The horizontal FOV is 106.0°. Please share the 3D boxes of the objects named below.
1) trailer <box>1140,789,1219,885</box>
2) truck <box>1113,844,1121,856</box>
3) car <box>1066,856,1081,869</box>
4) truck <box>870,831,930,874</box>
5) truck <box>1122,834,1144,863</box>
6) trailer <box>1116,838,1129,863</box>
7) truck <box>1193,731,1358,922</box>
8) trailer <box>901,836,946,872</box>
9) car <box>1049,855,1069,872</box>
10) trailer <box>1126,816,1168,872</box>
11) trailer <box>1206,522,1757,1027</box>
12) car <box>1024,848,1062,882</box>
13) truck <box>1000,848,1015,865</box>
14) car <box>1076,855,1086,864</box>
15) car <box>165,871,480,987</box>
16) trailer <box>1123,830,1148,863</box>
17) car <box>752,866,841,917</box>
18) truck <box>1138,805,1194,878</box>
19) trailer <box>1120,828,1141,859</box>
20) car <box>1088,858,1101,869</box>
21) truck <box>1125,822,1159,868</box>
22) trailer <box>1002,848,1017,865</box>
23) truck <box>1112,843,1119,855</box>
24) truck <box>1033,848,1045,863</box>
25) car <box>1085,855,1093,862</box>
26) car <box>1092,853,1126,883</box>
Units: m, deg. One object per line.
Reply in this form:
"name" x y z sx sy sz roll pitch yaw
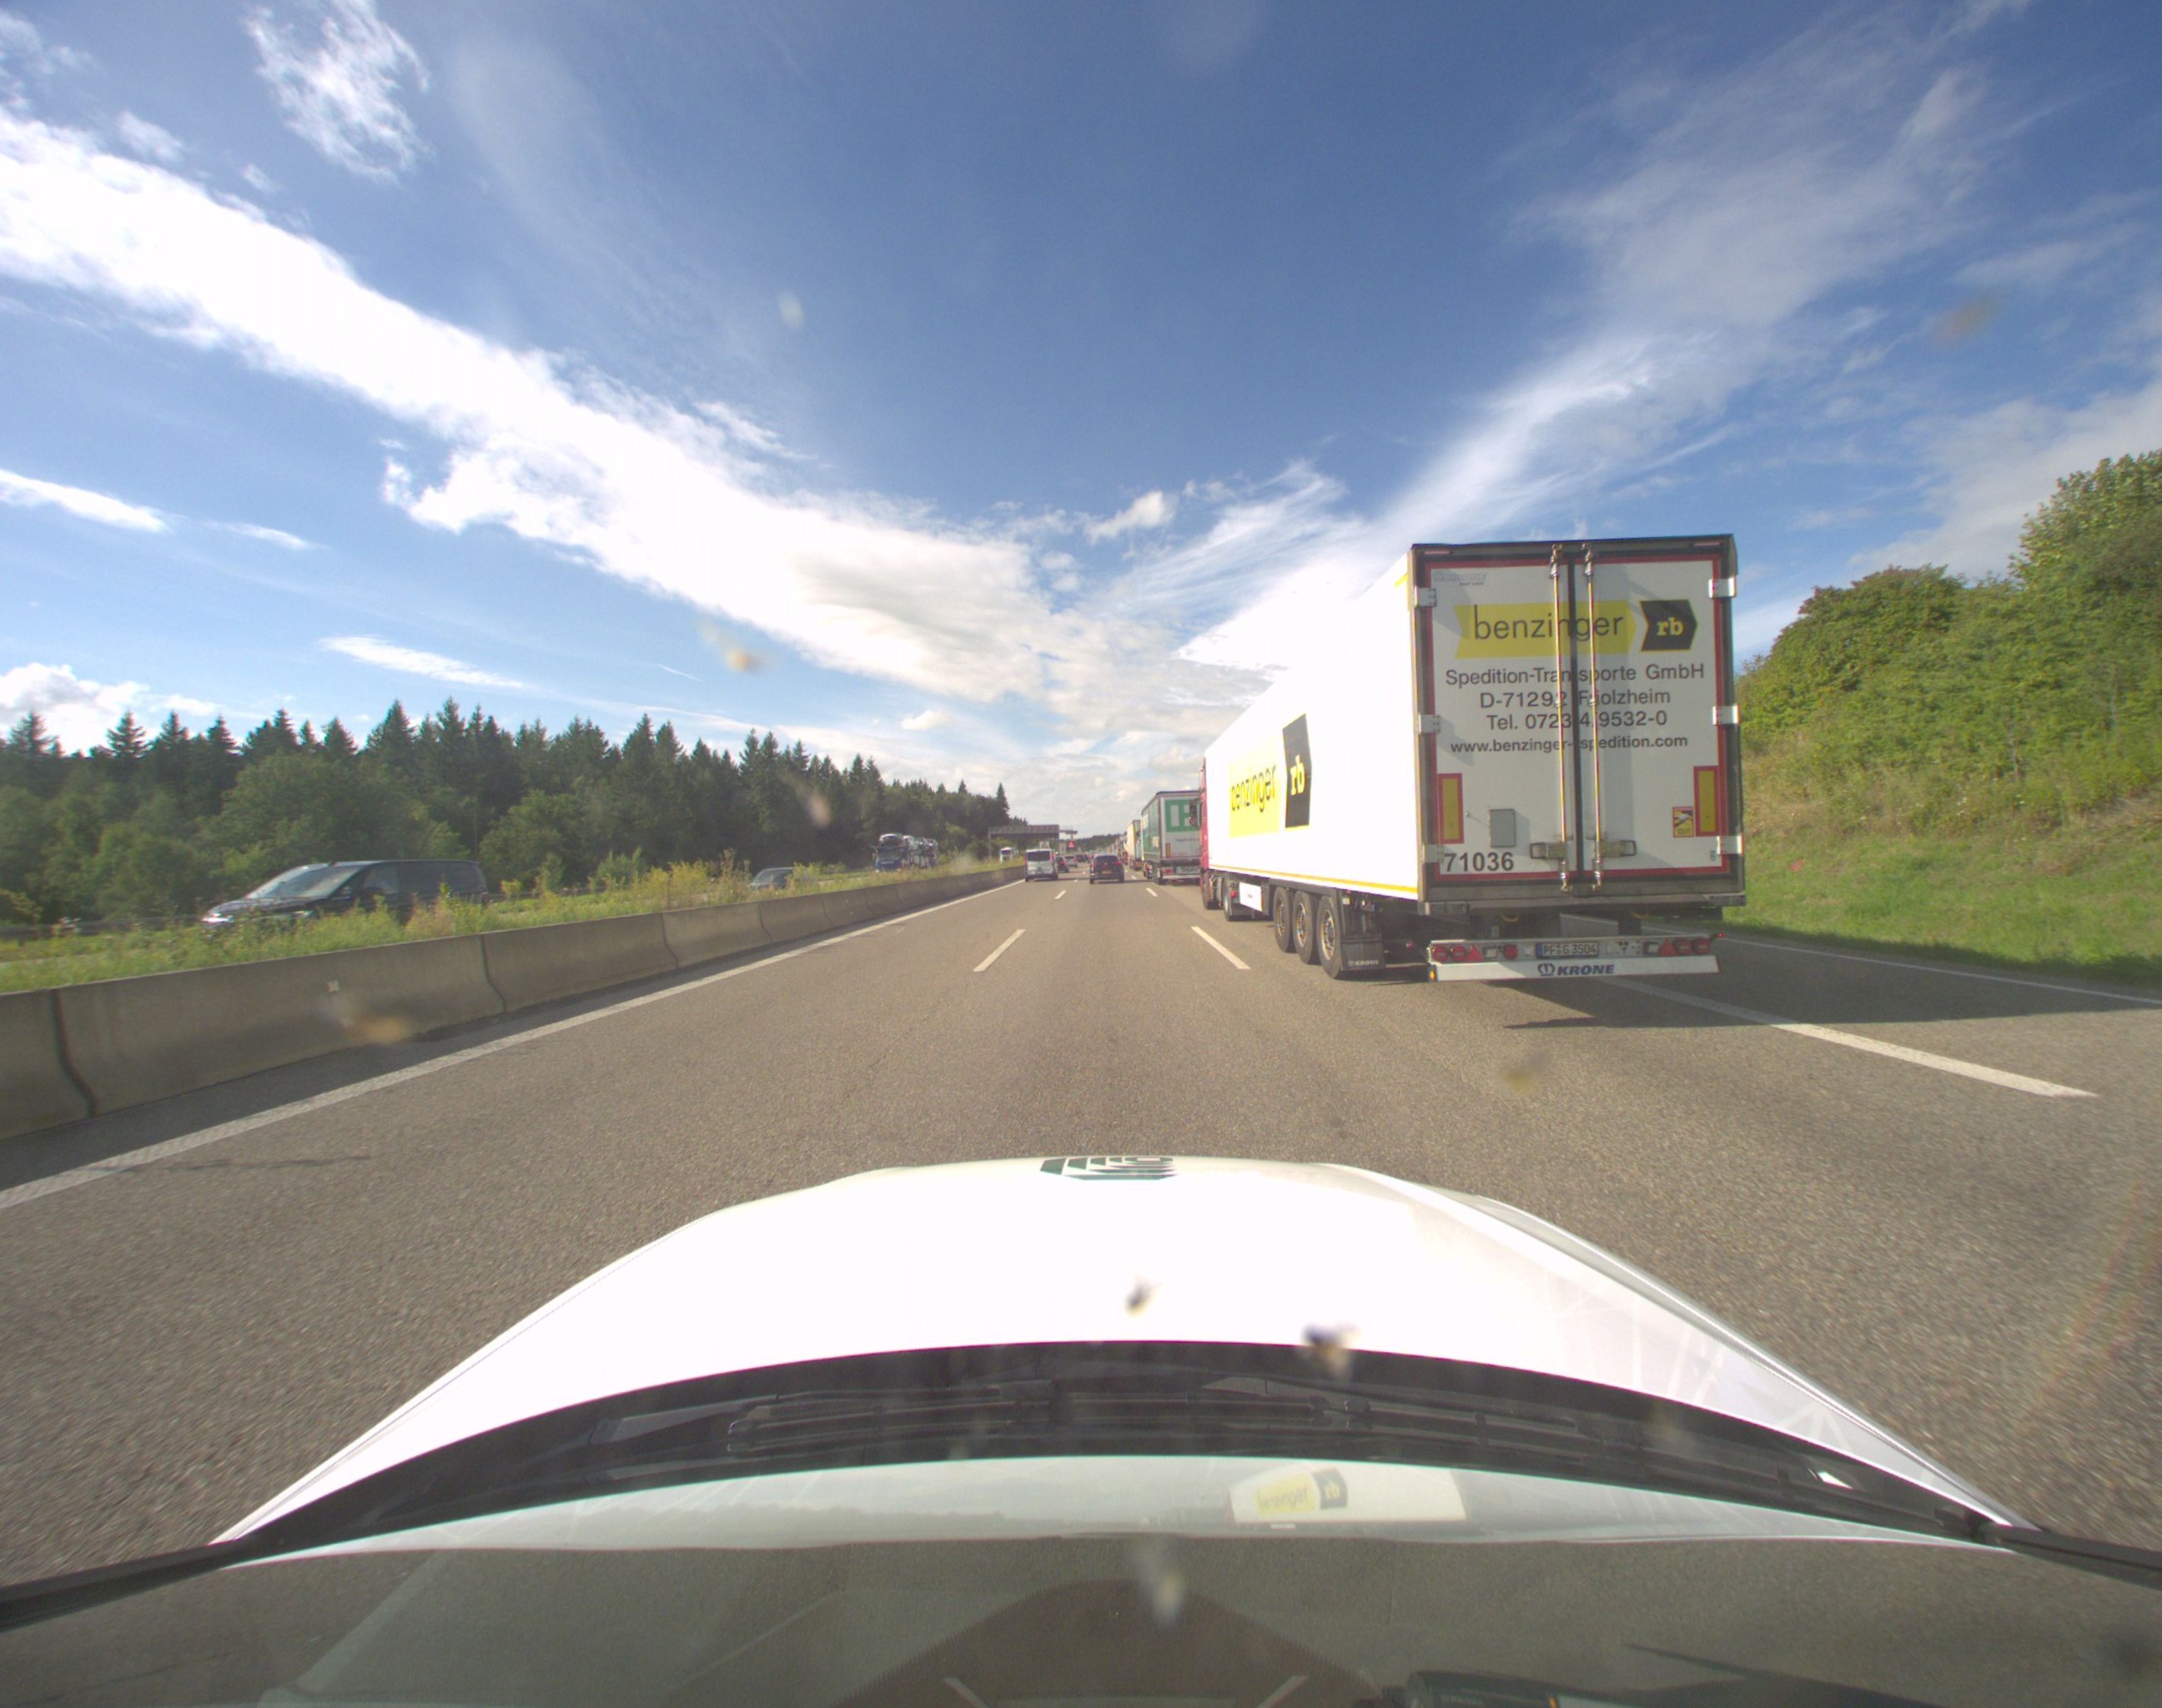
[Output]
"trailer" 4.559 -0.677 40.528 2.651 3.869 13.400 -2 0 2
"truck" 8.540 -0.906 193.781 1.986 2.932 4.984 1 0 2
"car" -0.821 0.946 92.399 1.494 1.396 3.477 1 0 2
"truck" -16.954 -0.067 77.283 2.821 3.689 11.135 -2 0 1
"truck" 6.568 -0.667 103.359 2.524 3.584 6.732 -2 0 2
"trailer" 7.337 -0.586 145.678 2.141 4.259 8.444 -2 0 2
"truck" 4.426 -0.557 19.822 2.791 3.939 5.829 -1 0 2
"trailer" -16.747 0.047 87.329 2.789 3.528 8.955 -2 0 1
"car" -1.859 0.819 69.877 1.494 1.396 3.477 0 0 2
"trailer" 5.379 -0.773 68.515 2.693 4.081 12.949 -3 0 2
"trailer" 4.152 -0.590 12.961 2.781 3.939 13.077 -1 0 2
"car" -2.337 0.675 51.235 1.926 1.979 5.100 1 0 2
"truck" -14.552 0.511 161.286 2.311 3.273 6.102 -2 0 -1
"car" 0.016 0.915 136.270 1.429 1.310 3.534 1 0 1
"car" -14.624 1.321 16.167 1.871 1.876 4.492 1 0 2
"trailer" 6.362 -0.785 96.953 2.531 3.654 10.631 -2 0 2
"car" -11.493 1.455 33.231 1.871 1.876 4.492 1 0 2
"truck" 4.807 -0.646 47.434 2.637 3.869 6.999 -2 0 2
"trailer" 7.354 -1.492 122.739 2.791 4.244 11.063 -3 0 2
"car" 1.704 1.194 102.529 1.575 1.396 3.208 1 0 1
"truck" 5.612 -0.798 76.008 2.698 4.059 6.364 -2 0 2
"trailer" -14.623 0.537 166.890 2.315 3.284 10.870 -2 0 -1
"truck" 9.375 -1.352 221.046 1.986 3.052 4.984 1 0 2
"truck" -12.687 0.449 245.380 2.702 4.244 10.345 -2 0 1
"car" 1.537 0.785 156.486 1.429 1.310 3.534 1 0 1
"car" 1.480 0.721 42.791 1.690 1.483 4.161 0 0 2
